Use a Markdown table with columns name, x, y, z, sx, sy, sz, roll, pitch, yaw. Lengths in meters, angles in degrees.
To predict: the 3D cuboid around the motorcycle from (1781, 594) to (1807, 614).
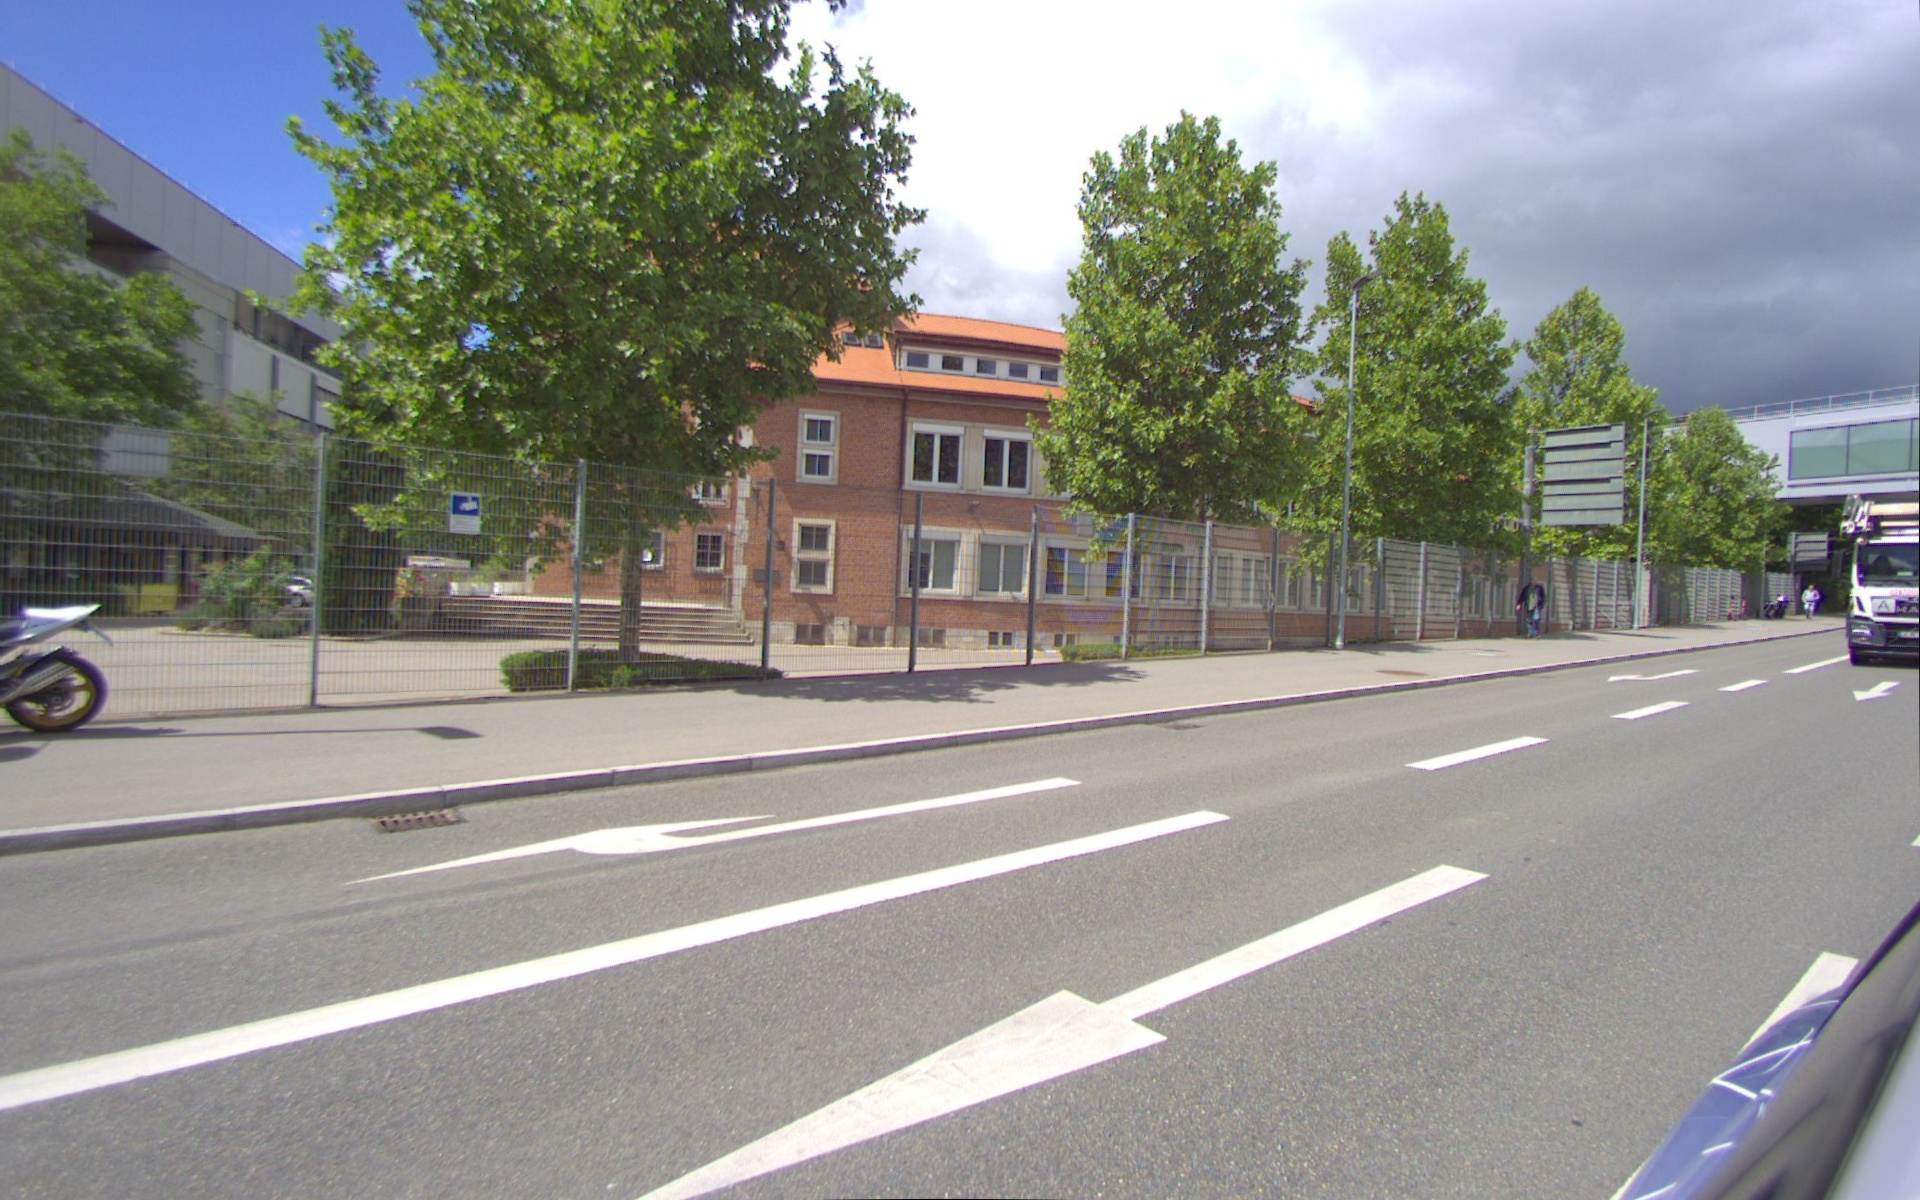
| name | x | y | z | sx | sy | sz | roll | pitch | yaw |
| --- | --- | --- | --- | --- | --- | --- | --- | --- | --- |
| motorcycle | 46.839 | 0.203 | 56.831 | 2.467 | 1.077 | 0.709 | -1 | 4 | -43 |

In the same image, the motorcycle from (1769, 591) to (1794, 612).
| name | x | y | z | sx | sy | sz | roll | pitch | yaw |
| --- | --- | --- | --- | --- | --- | --- | --- | --- | --- |
| motorcycle | 44.514 | 0.092 | 54.817 | 2.209 | 1.077 | 0.669 | -1 | 4 | -43 |

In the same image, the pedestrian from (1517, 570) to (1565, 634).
| name | x | y | z | sx | sy | sz | roll | pitch | yaw |
| --- | --- | --- | --- | --- | --- | --- | --- | --- | --- |
| pedestrian | 16.863 | 0.047 | 29.392 | 0.924 | 1.764 | 0.879 | 0 | 3 | -42 |

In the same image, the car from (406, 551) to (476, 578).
| name | x | y | z | sx | sy | sz | roll | pitch | yaw |
| --- | --- | --- | --- | --- | --- | --- | --- | --- | --- |
| car | -35.914 | -2.462 | 70.155 | 3.916 | 1.805 | 2.004 | -1 | 1 | -13 |

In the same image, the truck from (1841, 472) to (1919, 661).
| name | x | y | z | sx | sy | sz | roll | pitch | yaw |
| --- | --- | --- | --- | --- | --- | --- | --- | --- | --- |
| truck | 24.370 | -0.719 | 25.014 | 9.914 | 4.055 | 2.784 | 0 | 1 | -43 |

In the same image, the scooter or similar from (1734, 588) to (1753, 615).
| name | x | y | z | sx | sy | sz | roll | pitch | yaw |
| --- | --- | --- | --- | --- | --- | --- | --- | --- | --- |
| scooter or similar | 39.000 | 0.074 | 50.384 | 1.314 | 1.310 | 0.492 | 0 | 3 | -42 |

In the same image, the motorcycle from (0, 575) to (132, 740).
| name | x | y | z | sx | sy | sz | roll | pitch | yaw |
| --- | --- | --- | --- | --- | --- | --- | --- | --- | --- |
| motorcycle | -7.392 | 0.412 | 7.321 | 0.693 | 1.172 | 2.113 | 4 | 3 | 44 |

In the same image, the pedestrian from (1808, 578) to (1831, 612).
| name | x | y | z | sx | sy | sz | roll | pitch | yaw |
| --- | --- | --- | --- | --- | --- | --- | --- | --- | --- |
| pedestrian | 48.669 | -0.283 | 57.315 | 1.078 | 1.911 | 0.790 | 0 | 2 | -43 |
